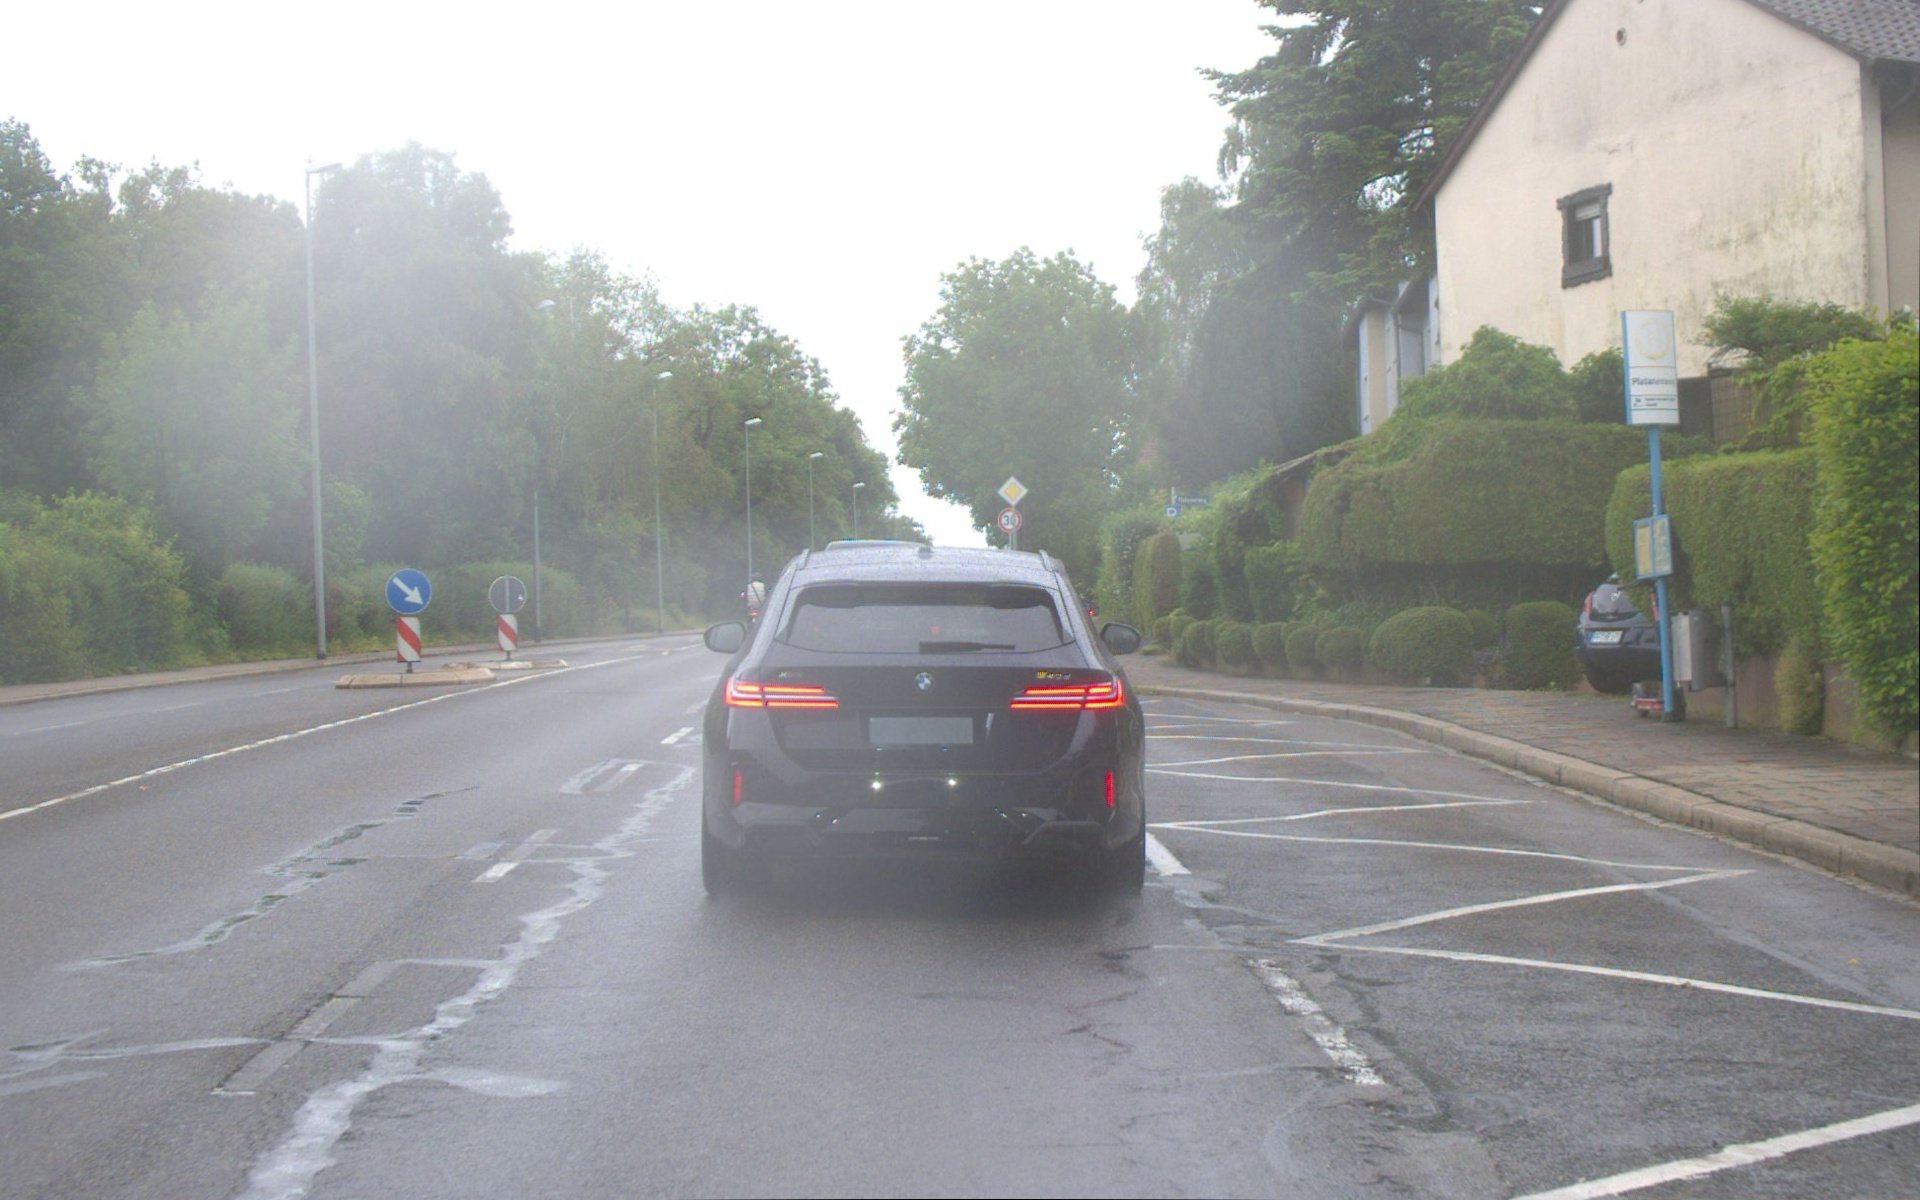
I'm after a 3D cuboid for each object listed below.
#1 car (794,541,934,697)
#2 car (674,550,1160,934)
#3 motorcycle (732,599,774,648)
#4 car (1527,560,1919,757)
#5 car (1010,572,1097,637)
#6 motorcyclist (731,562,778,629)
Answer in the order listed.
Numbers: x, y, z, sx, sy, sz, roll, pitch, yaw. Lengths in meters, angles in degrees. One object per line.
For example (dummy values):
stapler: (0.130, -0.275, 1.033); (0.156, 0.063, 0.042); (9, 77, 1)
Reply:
car: (-1.190, 0.199, 43.354); (1.629, 1.827, 4.000); (-2, 1, -1)
car: (-0.169, 0.548, 15.629); (1.897, 1.484, 4.000); (1, 0, 0)
motorcycle: (-4.925, 0.546, 81.956); (0.876, 1.120, 2.741); (1, 0, -1)
car: (7.518, 0.580, 32.657); (3.695, 1.294, 1.773); (10, -5, -21)
car: (2.191, 0.081, 80.259); (1.935, 1.437, 4.408); (-2, 0, 2)
motorcyclist: (-4.898, -0.105, 81.963); (1.039, 1.562, 0.855); (1, 0, -1)
